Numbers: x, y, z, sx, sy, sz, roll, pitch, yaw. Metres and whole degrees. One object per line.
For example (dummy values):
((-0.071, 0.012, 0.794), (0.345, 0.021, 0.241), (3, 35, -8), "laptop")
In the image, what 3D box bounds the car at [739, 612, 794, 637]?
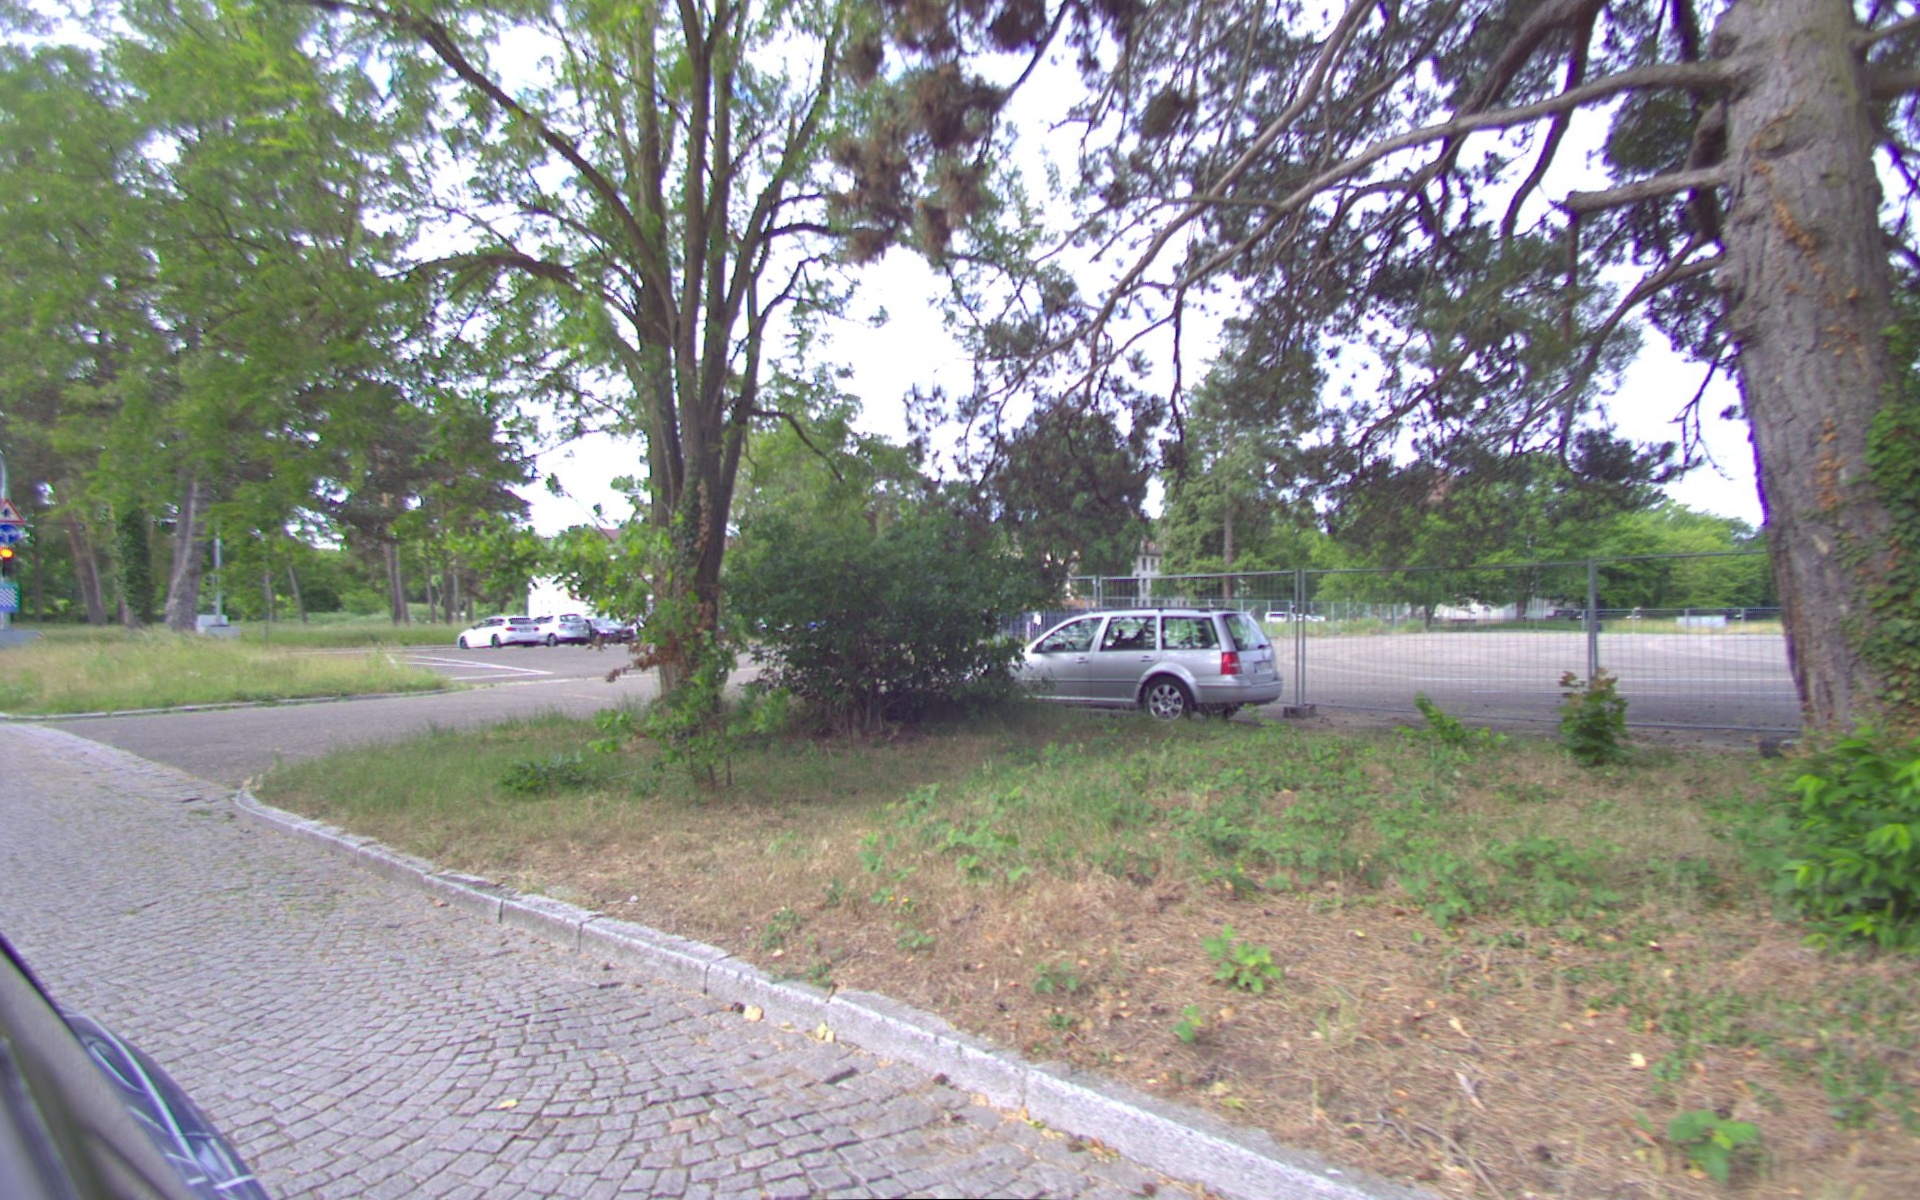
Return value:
((-13.677, 1.750, 71.472), (3.795, 1.696, 1.729), (-1, -1, 35), "car")

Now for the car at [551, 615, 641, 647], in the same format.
((-17.695, 1.502, 49.161), (4.444, 1.460, 1.976), (-1, -1, 36), "car")

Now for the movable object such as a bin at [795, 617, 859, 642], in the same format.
((-5.829, 1.277, 44.342), (2.711, 1.079, 1.046), (-1, -1, 31), "movable object such as a bin")

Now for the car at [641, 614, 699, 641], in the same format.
((-18.638, 1.768, 64.968), (3.795, 1.696, 1.593), (-1, -1, 35), "car")

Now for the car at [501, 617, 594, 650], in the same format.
((-19.219, 1.533, 47.111), (4.444, 1.460, 1.976), (-1, -1, 36), "car")

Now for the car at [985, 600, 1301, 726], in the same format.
((2.304, 0.740, 13.154), (3.717, 1.421, 1.650), (-1, -1, 37), "car")

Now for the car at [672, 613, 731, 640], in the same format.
((-17.192, 1.763, 67.244), (3.795, 1.696, 1.729), (-1, -1, 35), "car")

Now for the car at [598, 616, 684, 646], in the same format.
((-16.315, 1.551, 51.714), (4.444, 1.460, 1.976), (-1, -1, 36), "car")

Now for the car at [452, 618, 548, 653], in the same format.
((-20.404, 1.539, 44.877), (4.444, 1.460, 1.976), (-1, -1, 36), "car")
